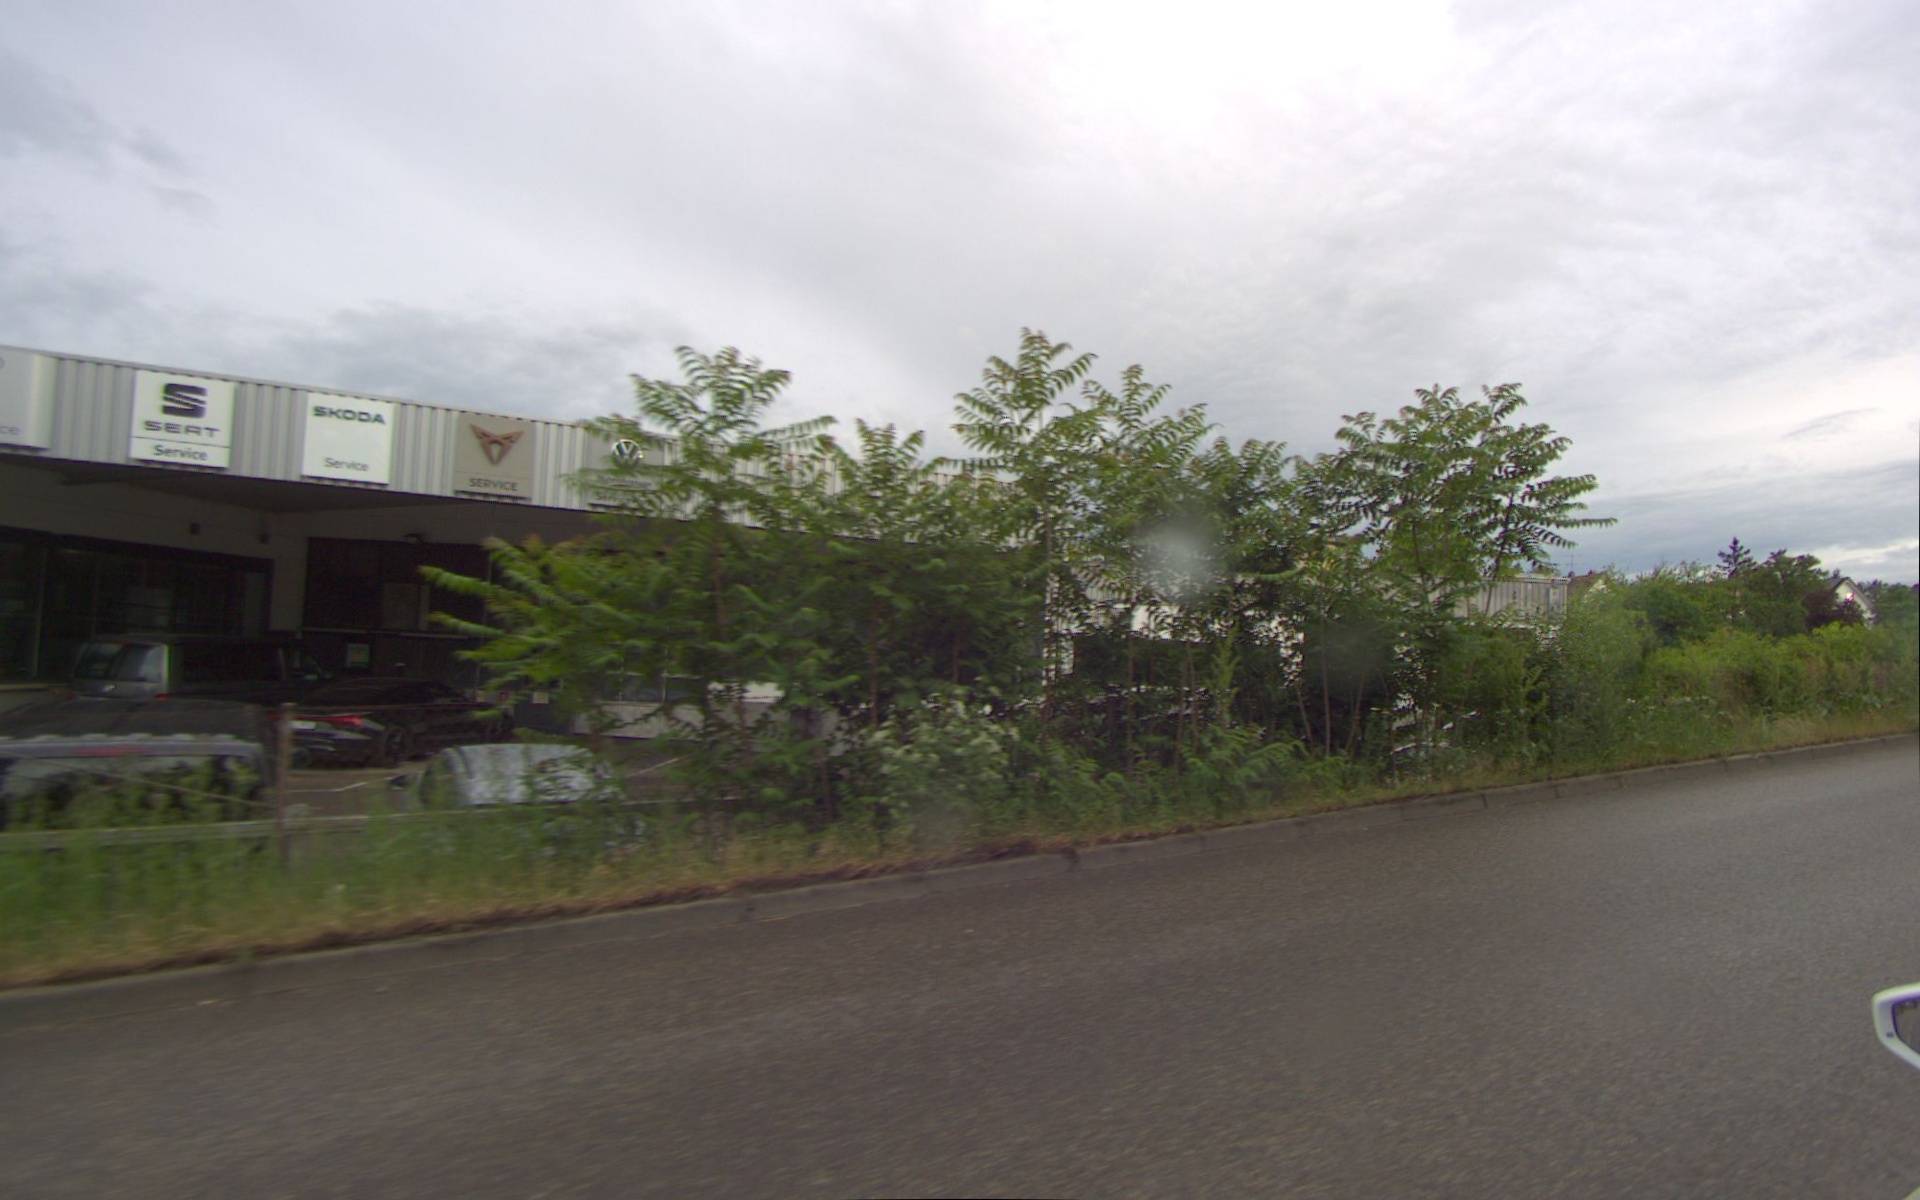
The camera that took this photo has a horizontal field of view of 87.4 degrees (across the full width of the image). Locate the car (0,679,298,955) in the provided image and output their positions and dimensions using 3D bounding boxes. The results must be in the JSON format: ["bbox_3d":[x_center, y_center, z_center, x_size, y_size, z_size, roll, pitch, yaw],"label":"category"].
[{"bbox_3d":[-5.795,1.286,7.141,1.785,1.227,4.039,1,-2,-33],"label":"car"}]

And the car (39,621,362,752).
[{"bbox_3d":[-13.025,1.483,17.701,1.948,1.985,4.489,1,-4,5],"label":"car"}]

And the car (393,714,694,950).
[{"bbox_3d":[-3.921,1.827,9.029,1.785,1.227,4.039,1,-2,-33],"label":"car"}]

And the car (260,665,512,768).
[{"bbox_3d":[-9.818,1.940,17.616,1.914,1.434,4.024,0,-2,3],"label":"car"}]

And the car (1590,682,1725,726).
[{"bbox_3d":[30.946,4.617,44.681,4.549,1.714,1.869,-2,-6,1],"label":"car"}]
